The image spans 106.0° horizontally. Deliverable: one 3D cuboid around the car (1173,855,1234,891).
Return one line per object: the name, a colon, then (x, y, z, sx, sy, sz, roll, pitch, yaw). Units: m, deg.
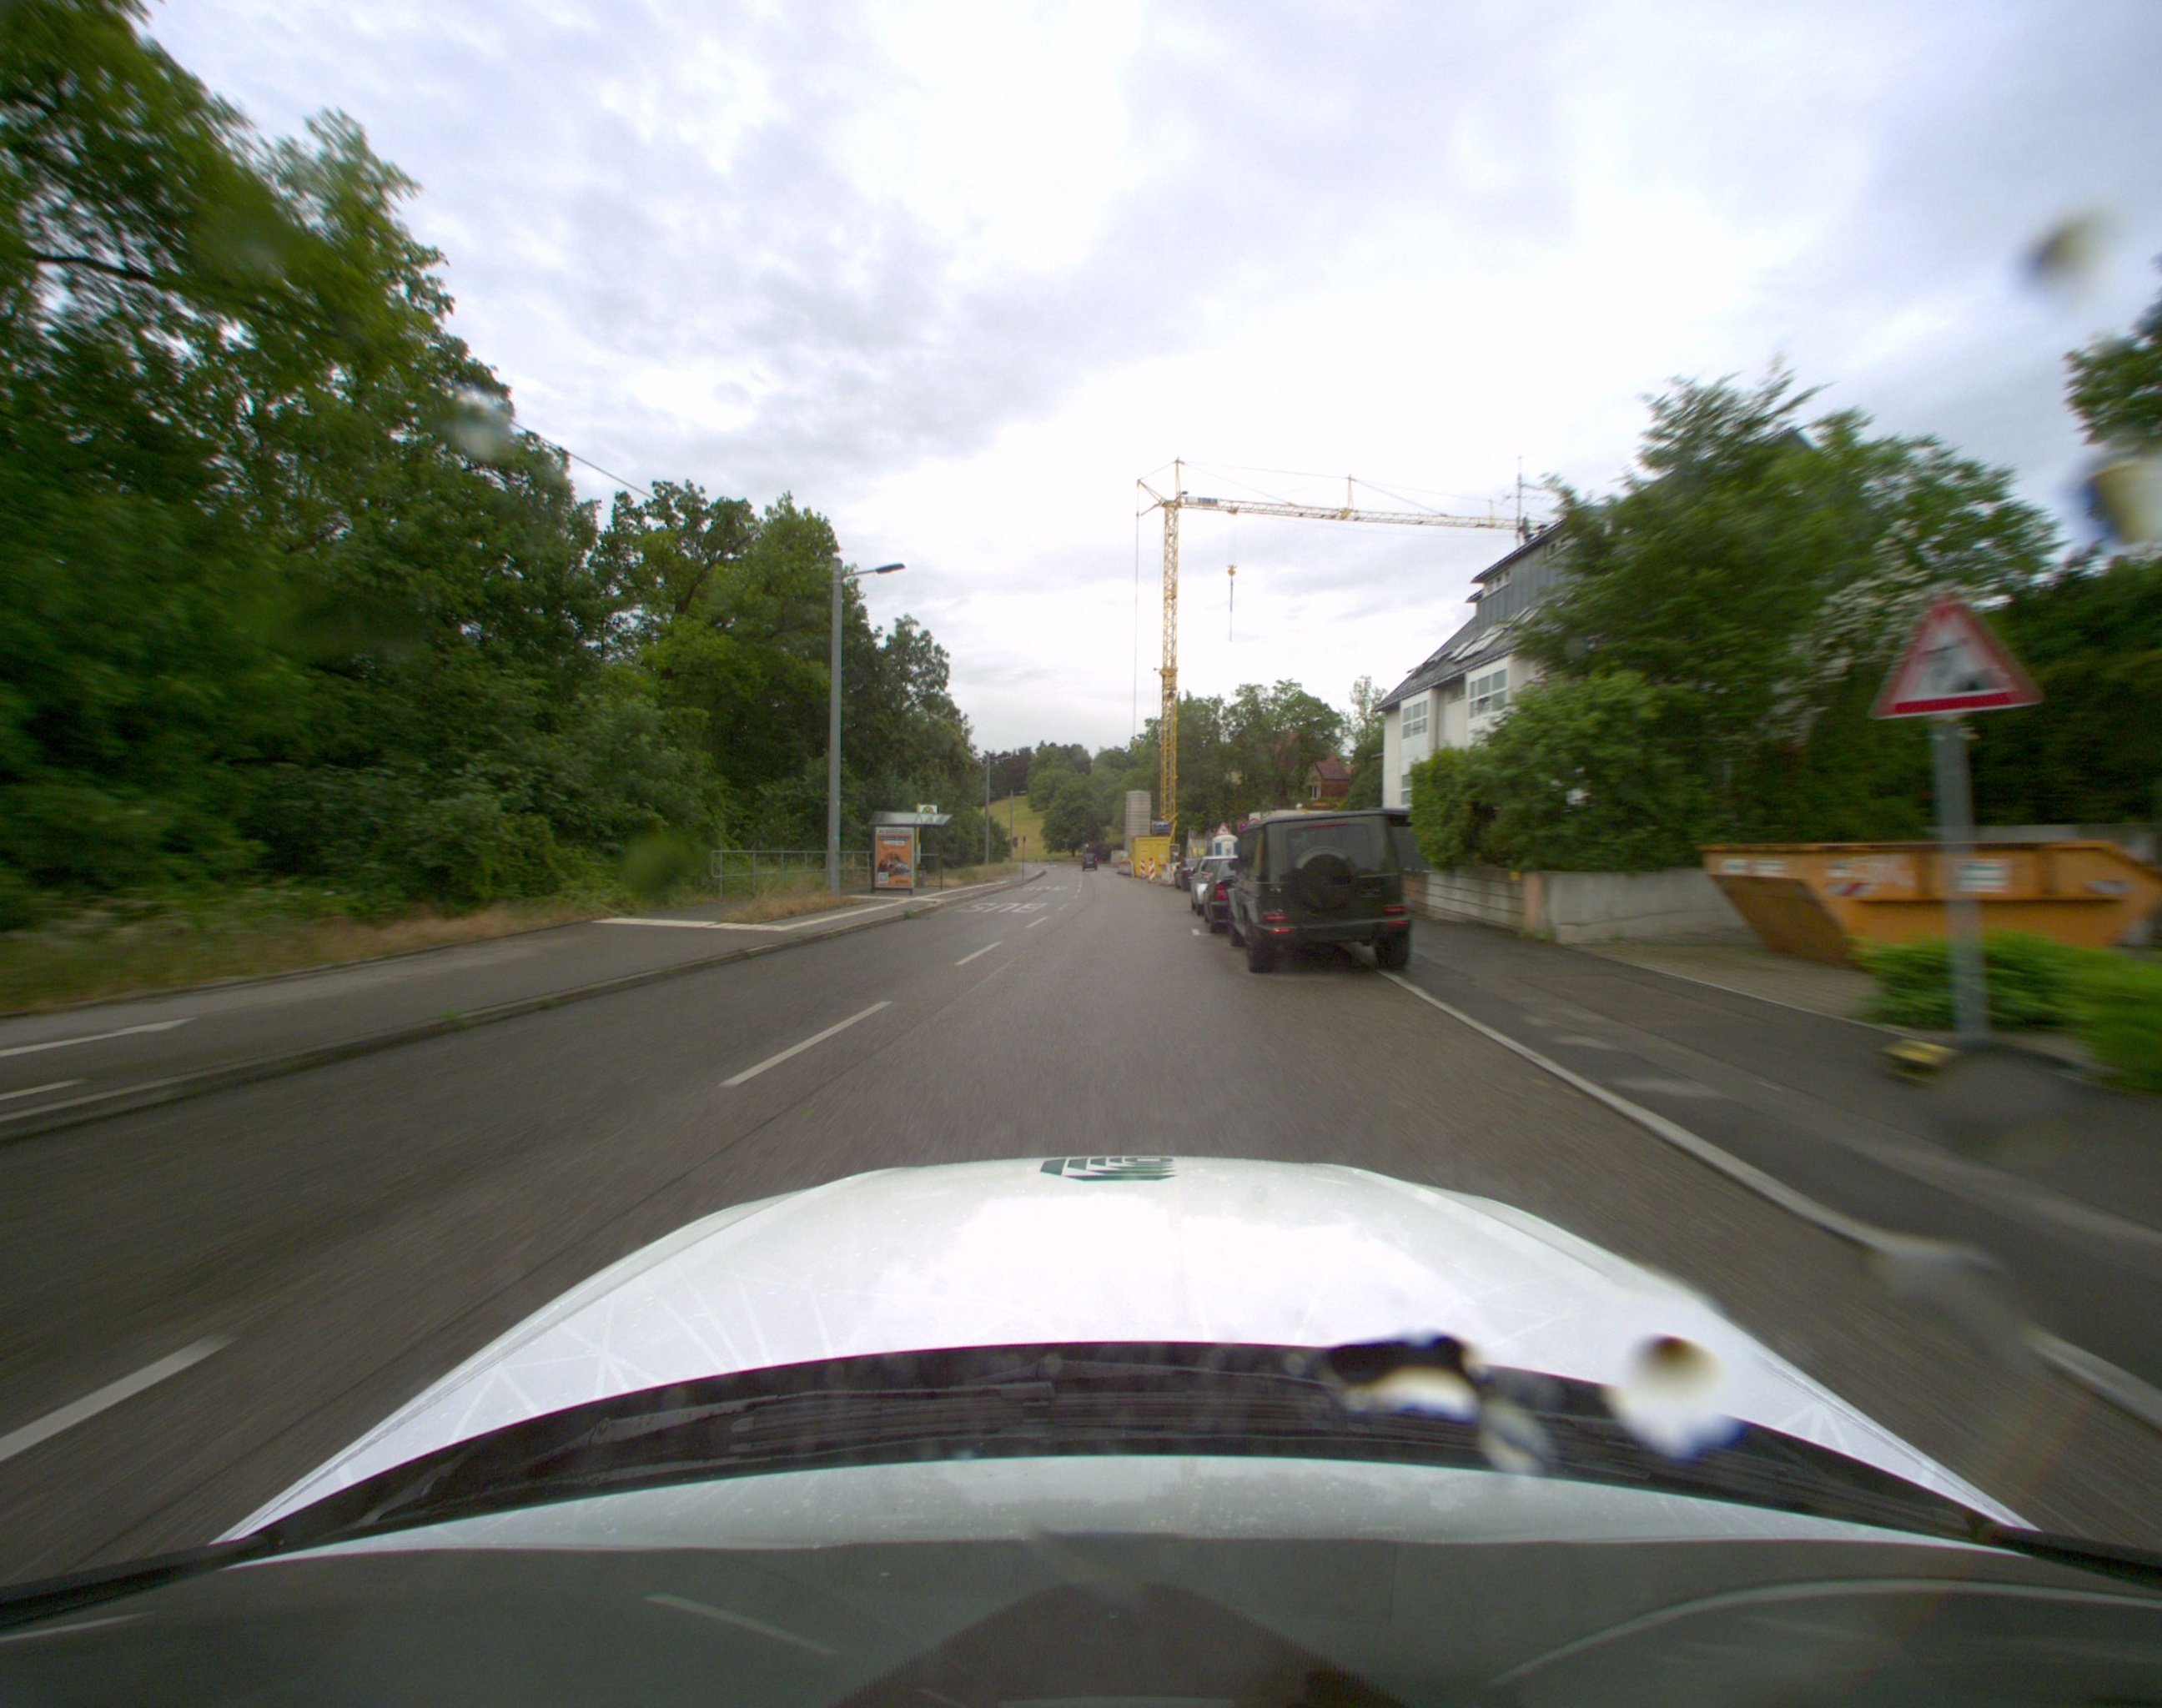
car: (5.207, 0.761, 35.341, 1.926, 1.422, 4.836, 0, 0, 0)

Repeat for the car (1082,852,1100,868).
car: (1.067, 0.705, 91.410, 1.926, 1.751, 3.998, -2, -1, -1)

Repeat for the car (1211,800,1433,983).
car: (3.132, 0.437, 11.752, 1.985, 2.013, 4.962, -2, 0, 4)

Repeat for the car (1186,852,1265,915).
car: (3.643, 0.705, 21.010, 1.665, 1.457, 3.390, -1, 0, 4)

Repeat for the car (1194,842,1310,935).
car: (3.365, 0.636, 16.827, 1.921, 1.596, 4.403, -3, -1, 7)
